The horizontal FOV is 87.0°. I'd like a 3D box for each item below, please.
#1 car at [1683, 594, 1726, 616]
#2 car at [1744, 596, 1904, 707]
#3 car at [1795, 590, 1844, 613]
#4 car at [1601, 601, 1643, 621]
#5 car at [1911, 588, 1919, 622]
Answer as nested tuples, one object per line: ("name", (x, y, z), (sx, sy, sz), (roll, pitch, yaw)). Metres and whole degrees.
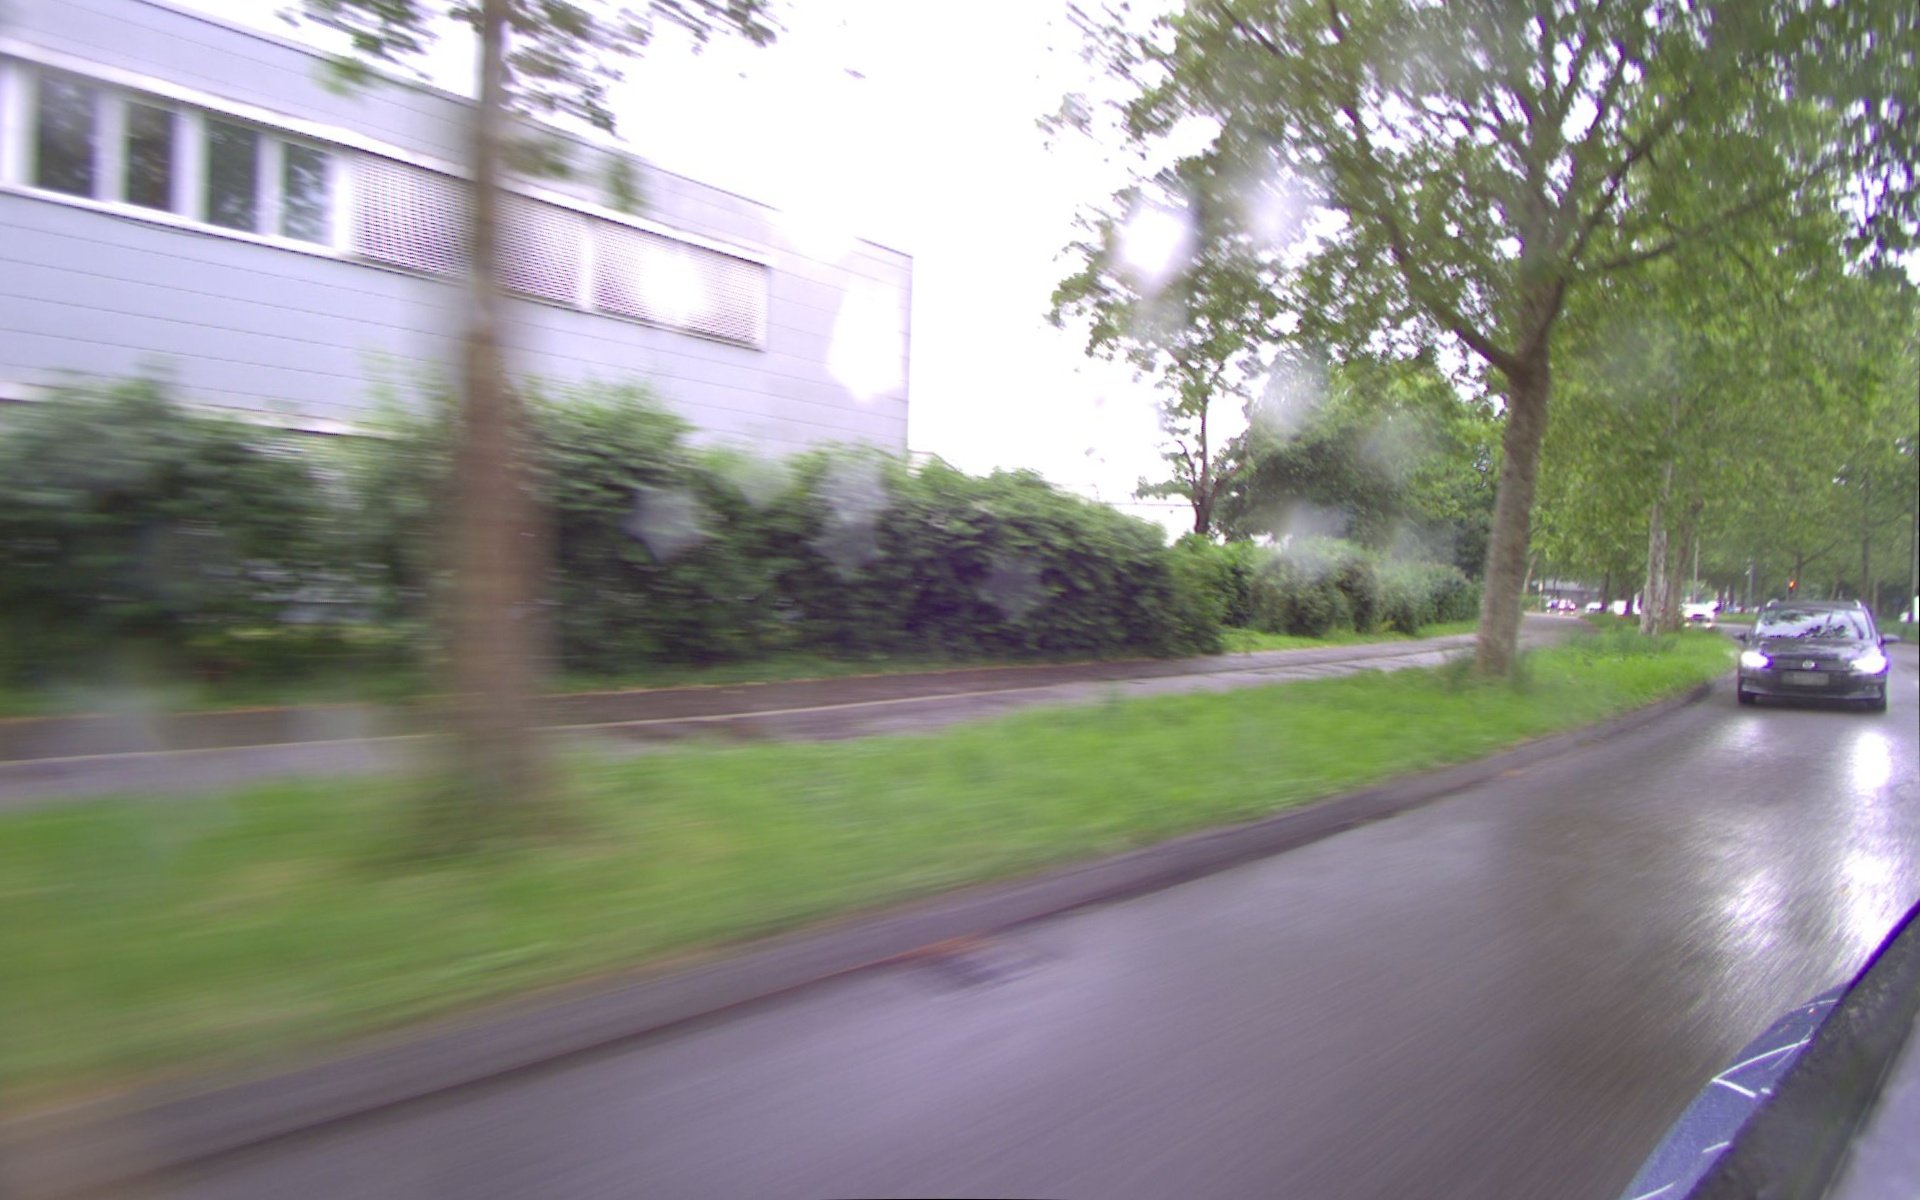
("car", (54.581, 0.351, 74.259), (1.767, 1.575, 3.964), (2, 0, 26))
("car", (13.950, 0.730, 16.455), (1.777, 1.575, 3.943), (0, 0, 39))
("car", (80.540, 0.113, 94.917), (1.919, 1.964, 5.157), (2, 1, 23))
("car", (53.191, 0.863, 81.374), (1.762, 1.575, 3.976), (2, 0, 18))
("car", (70.096, 0.417, 71.638), (2.263, 2.457, 6.302), (2, 1, 26))
